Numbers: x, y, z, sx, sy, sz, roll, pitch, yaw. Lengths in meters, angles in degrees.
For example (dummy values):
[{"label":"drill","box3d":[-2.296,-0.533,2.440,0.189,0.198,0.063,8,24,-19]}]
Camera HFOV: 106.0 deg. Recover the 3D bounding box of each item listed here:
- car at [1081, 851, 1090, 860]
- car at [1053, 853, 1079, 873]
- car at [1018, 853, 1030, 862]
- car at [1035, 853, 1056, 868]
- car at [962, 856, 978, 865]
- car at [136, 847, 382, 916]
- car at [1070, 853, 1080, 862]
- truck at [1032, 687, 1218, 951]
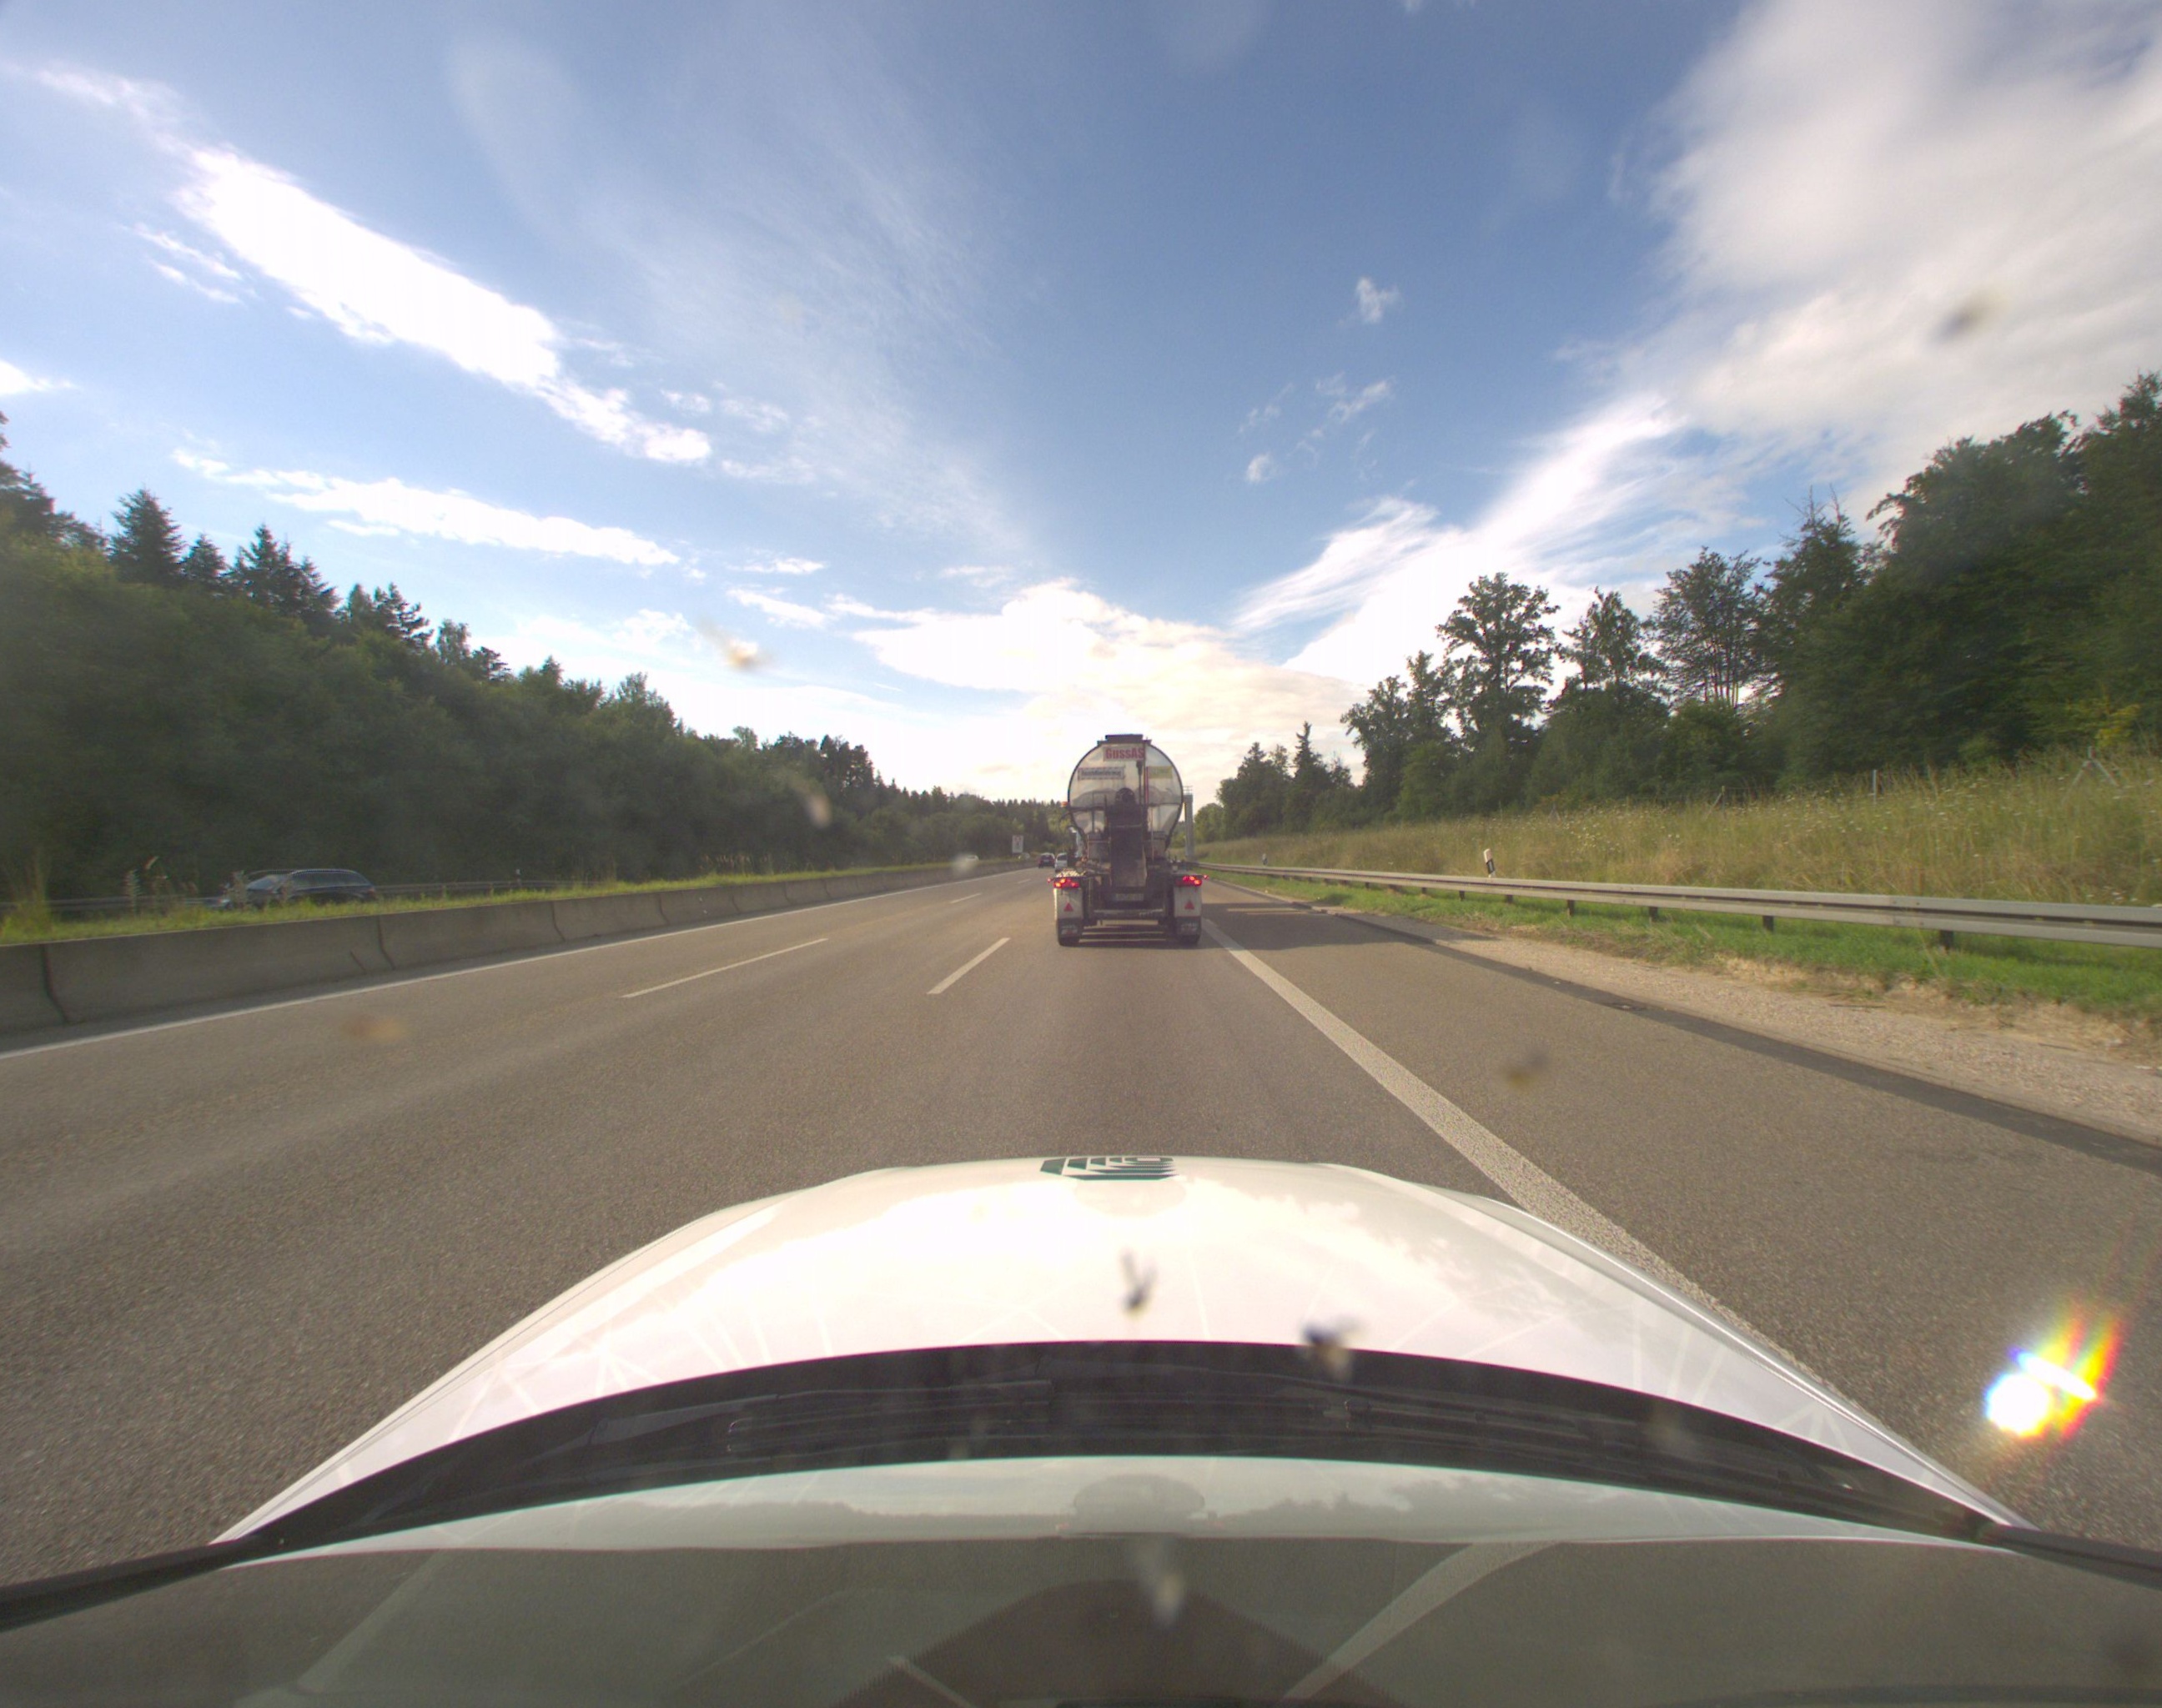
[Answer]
[{"label":"car","box3d":[0.887,0.338,161.746,1.839,1.783,4.001,-1,0,1]},{"label":"car","box3d":[-1.192,0.708,67.369,1.828,1.517,4.336,-1,0,2]},{"label":"car","box3d":[-11.093,0.608,158.827,1.899,1.717,4.003,-1,0,3]},{"label":"car","box3d":[-3.852,0.674,89.030,1.828,1.517,4.336,-1,0,2]},{"label":"car","box3d":[-16.935,0.988,124.633,1.809,1.290,3.546,-1,0,3]},{"label":"car","box3d":[-21.808,0.668,21.949,1.872,1.628,4.572,-1,0,2]},{"label":"car","box3d":[-1.054,0.547,140.049,1.612,1.544,3.521,-1,0,2]},{"label":"truck","box3d":[0.972,-0.564,18.606,2.901,4.157,11.277,-1,0,3]}]
